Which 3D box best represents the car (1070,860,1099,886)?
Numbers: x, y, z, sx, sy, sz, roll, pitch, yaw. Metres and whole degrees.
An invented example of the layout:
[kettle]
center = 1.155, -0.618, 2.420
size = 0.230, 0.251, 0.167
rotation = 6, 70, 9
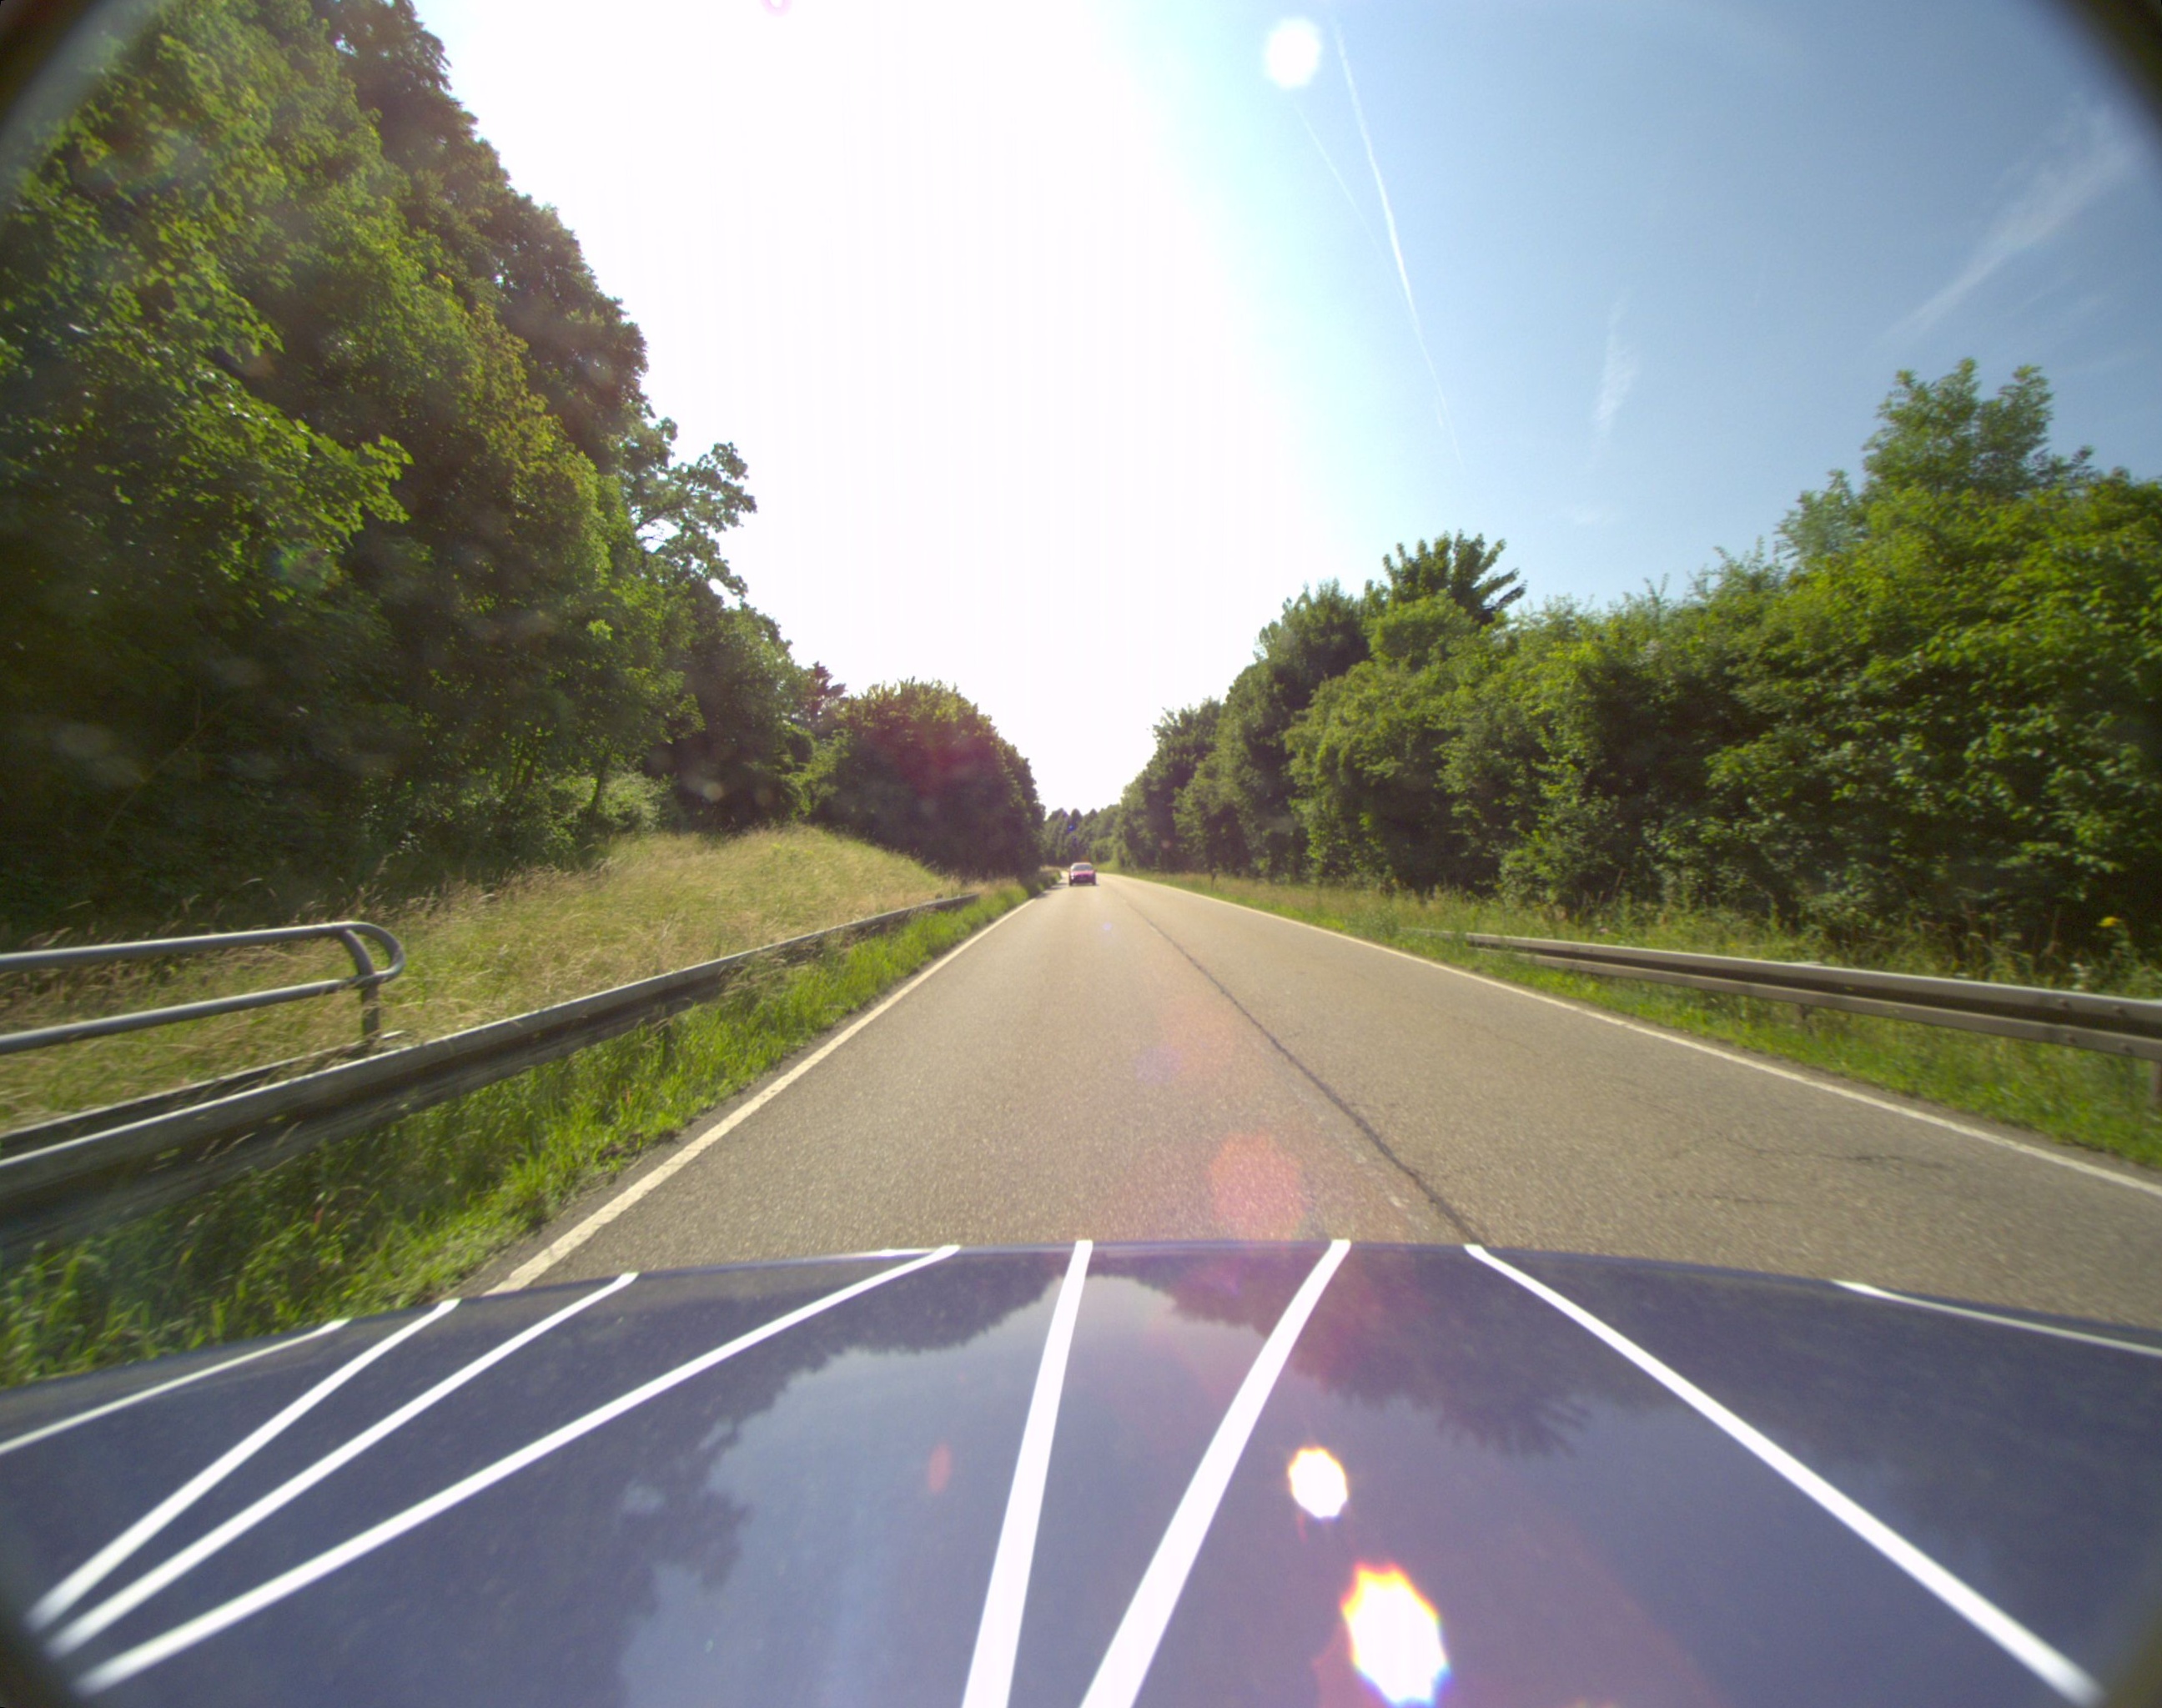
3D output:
[car]
center = 0.204, 1.217, 50.571
size = 1.816, 1.488, 4.284
rotation = -1, 1, 0
